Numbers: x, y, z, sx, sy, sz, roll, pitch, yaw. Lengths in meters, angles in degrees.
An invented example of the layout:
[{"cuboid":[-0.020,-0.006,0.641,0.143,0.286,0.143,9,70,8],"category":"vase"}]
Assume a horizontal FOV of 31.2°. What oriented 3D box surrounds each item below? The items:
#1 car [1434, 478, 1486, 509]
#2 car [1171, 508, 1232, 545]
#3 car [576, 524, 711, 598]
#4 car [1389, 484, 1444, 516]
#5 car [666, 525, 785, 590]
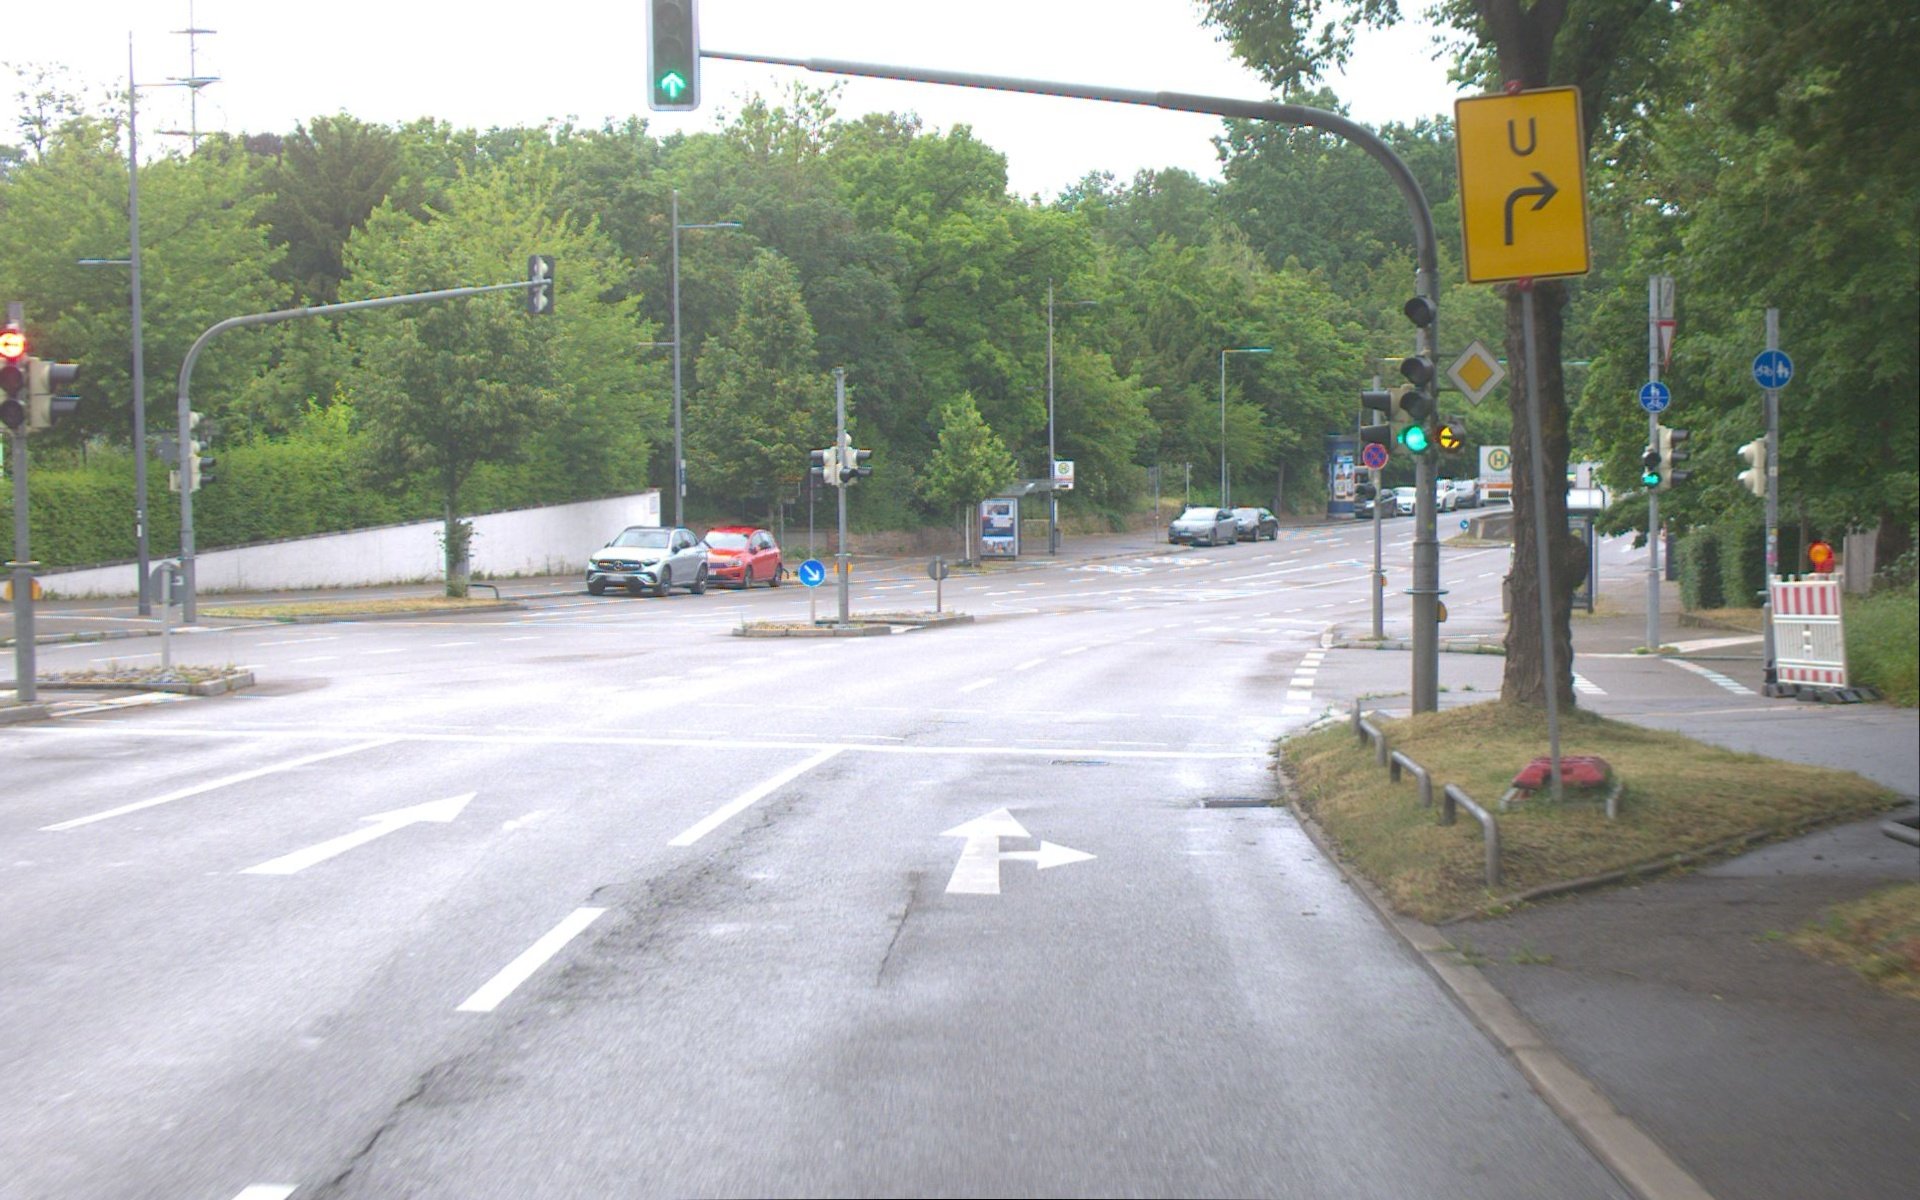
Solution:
[{"cuboid":[28.104,-6.002,193.264,1.958,1.480,3.996,3,5,21],"category":"car"},{"cuboid":[10.048,-3.051,142.936,1.714,1.455,3.747,1,1,17],"category":"car"},{"cuboid":[-7.626,-0.966,83.202,1.854,1.634,4.091,3,2,15],"category":"car"},{"cuboid":[24.630,-5.392,185.441,1.958,1.480,3.996,3,5,21],"category":"car"},{"cuboid":[-6.120,-1.137,90.260,1.876,1.569,4.220,3,2,13],"category":"car"}]
